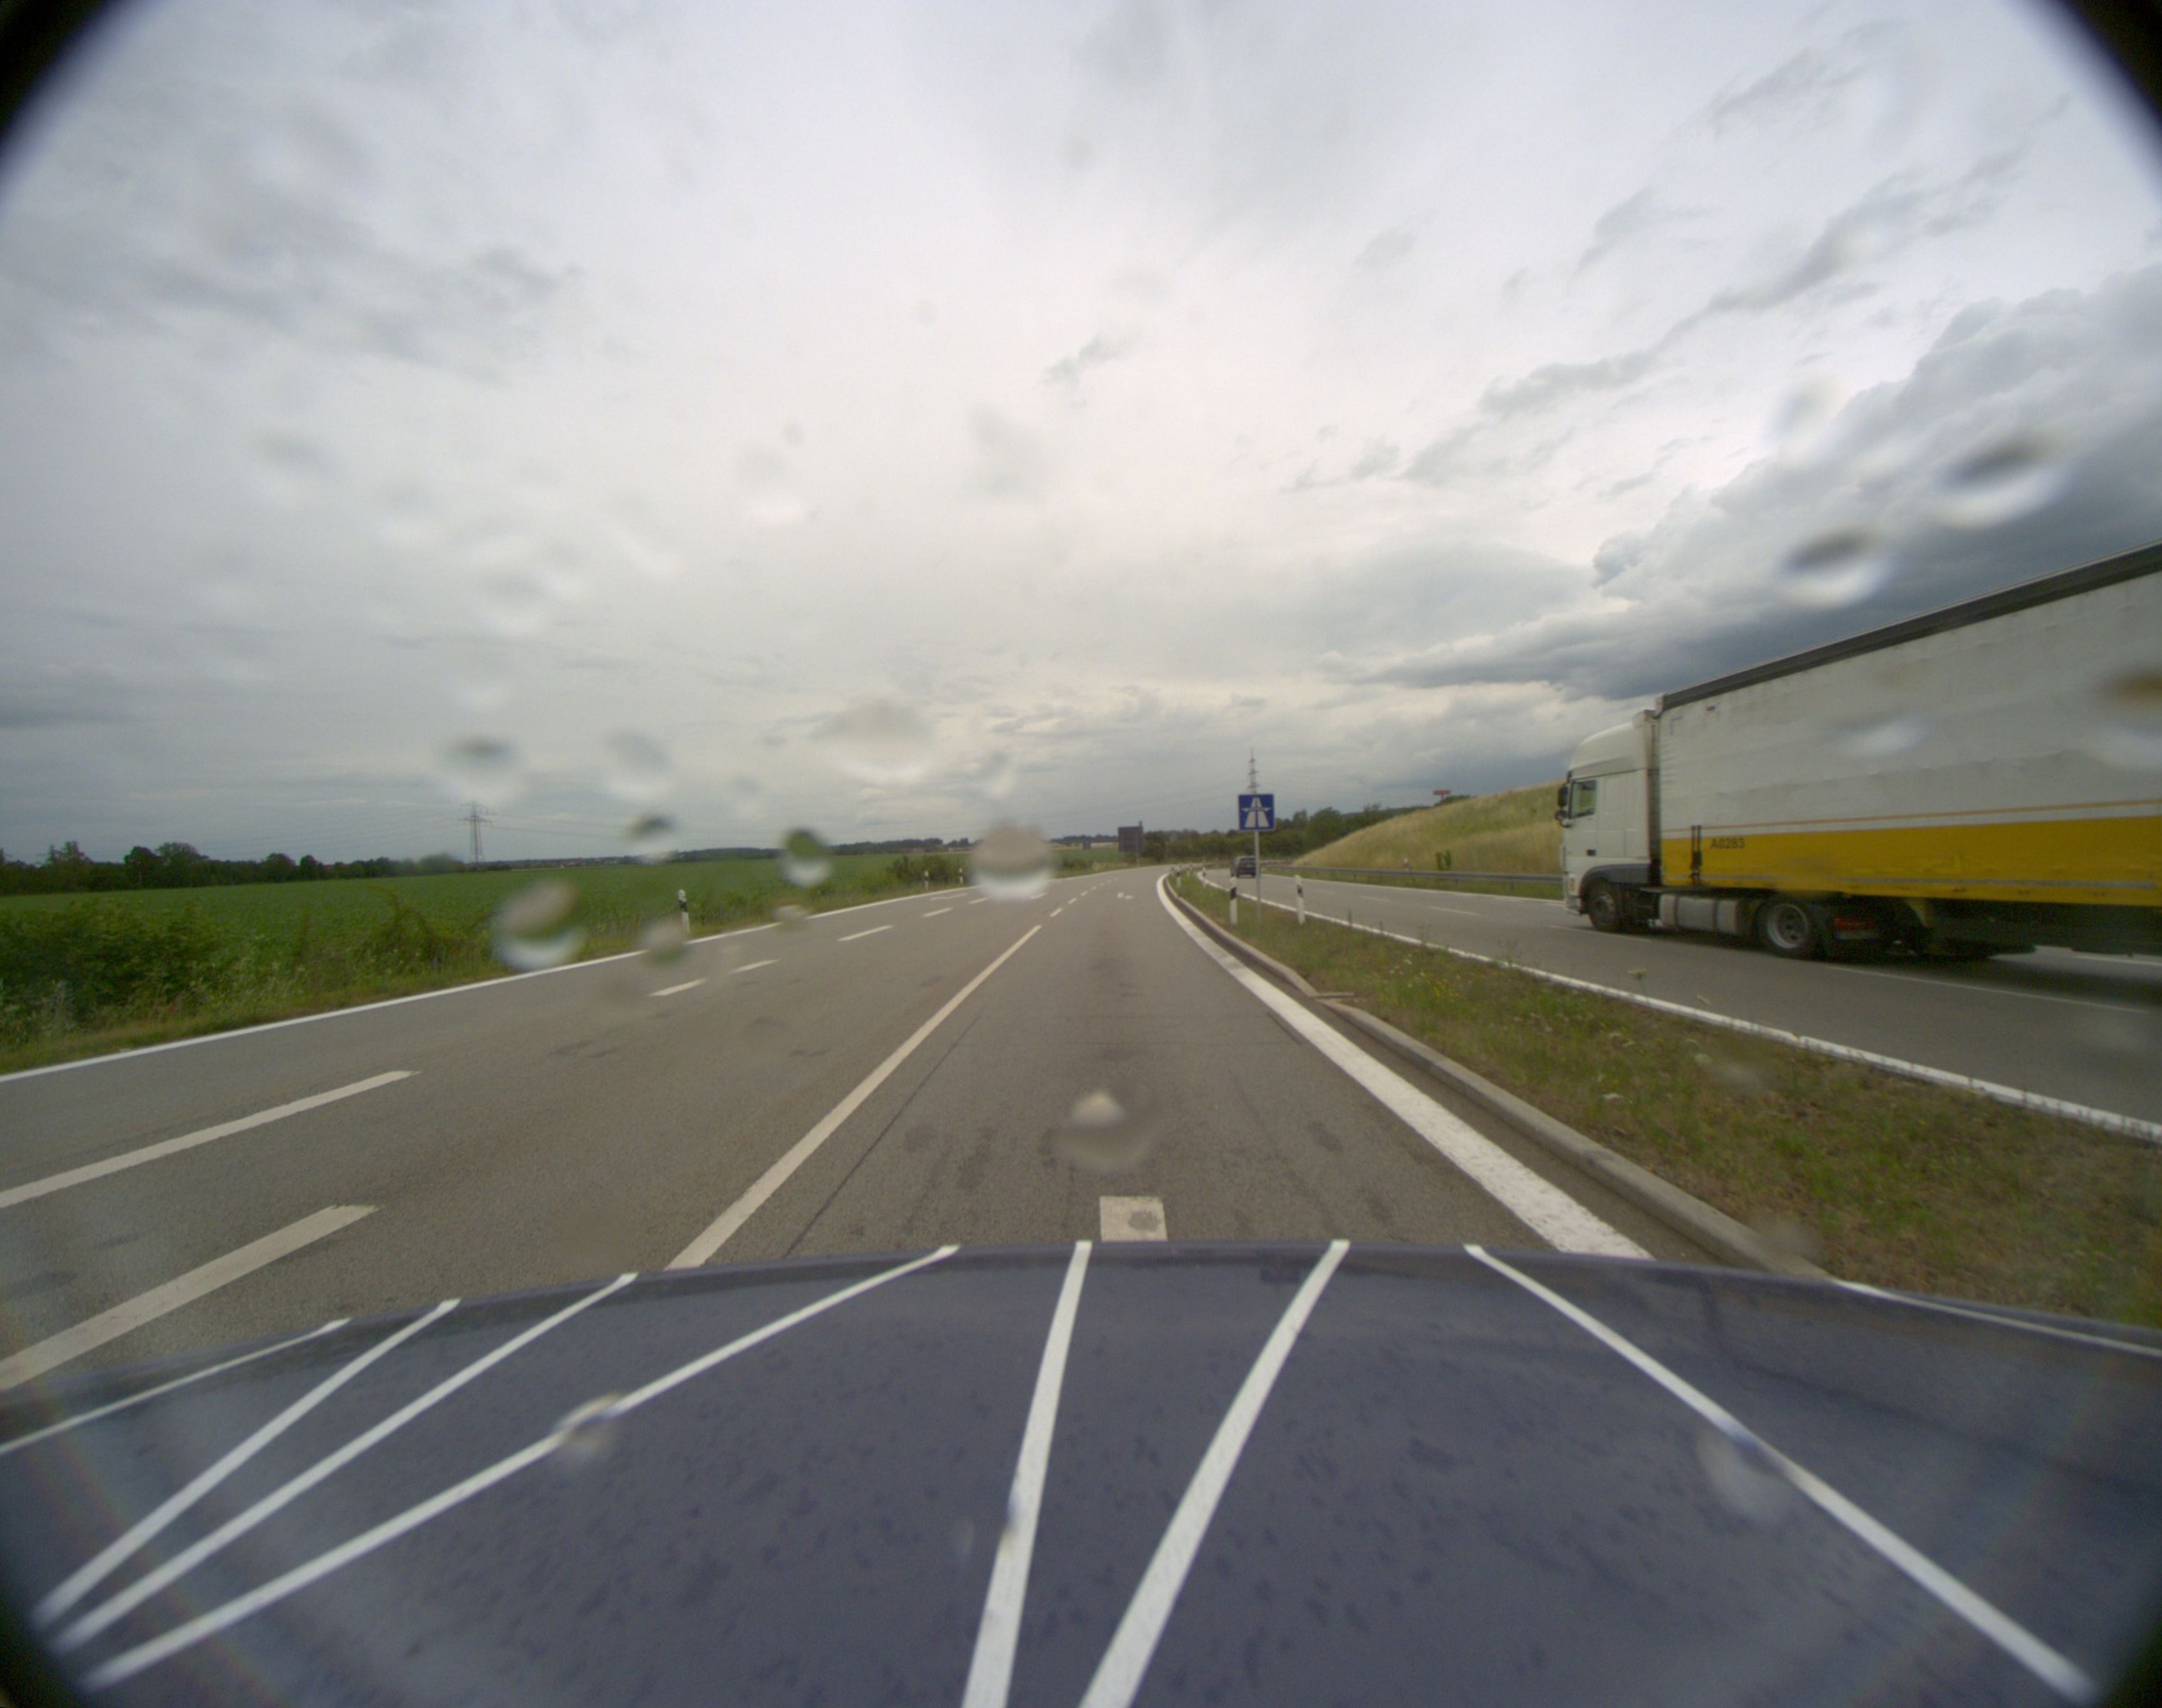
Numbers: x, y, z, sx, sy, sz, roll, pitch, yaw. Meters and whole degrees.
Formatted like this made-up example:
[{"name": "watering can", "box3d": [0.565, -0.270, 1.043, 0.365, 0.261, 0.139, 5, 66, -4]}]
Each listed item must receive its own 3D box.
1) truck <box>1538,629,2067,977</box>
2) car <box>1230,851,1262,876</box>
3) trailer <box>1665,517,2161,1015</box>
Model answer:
[{"name": "truck", "box3d": [10.668, -0.639, 12.401, 2.656, 4.117, 6.403, -2, 1, 2]}, {"name": "car", "box3d": [12.297, 0.650, 56.834, 1.997, 1.674, 4.116, -2, 1, 8]}, {"name": "trailer", "box3d": [10.405, -0.761, 5.103, 2.698, 4.186, 13.841, -2, 1, 2]}]
